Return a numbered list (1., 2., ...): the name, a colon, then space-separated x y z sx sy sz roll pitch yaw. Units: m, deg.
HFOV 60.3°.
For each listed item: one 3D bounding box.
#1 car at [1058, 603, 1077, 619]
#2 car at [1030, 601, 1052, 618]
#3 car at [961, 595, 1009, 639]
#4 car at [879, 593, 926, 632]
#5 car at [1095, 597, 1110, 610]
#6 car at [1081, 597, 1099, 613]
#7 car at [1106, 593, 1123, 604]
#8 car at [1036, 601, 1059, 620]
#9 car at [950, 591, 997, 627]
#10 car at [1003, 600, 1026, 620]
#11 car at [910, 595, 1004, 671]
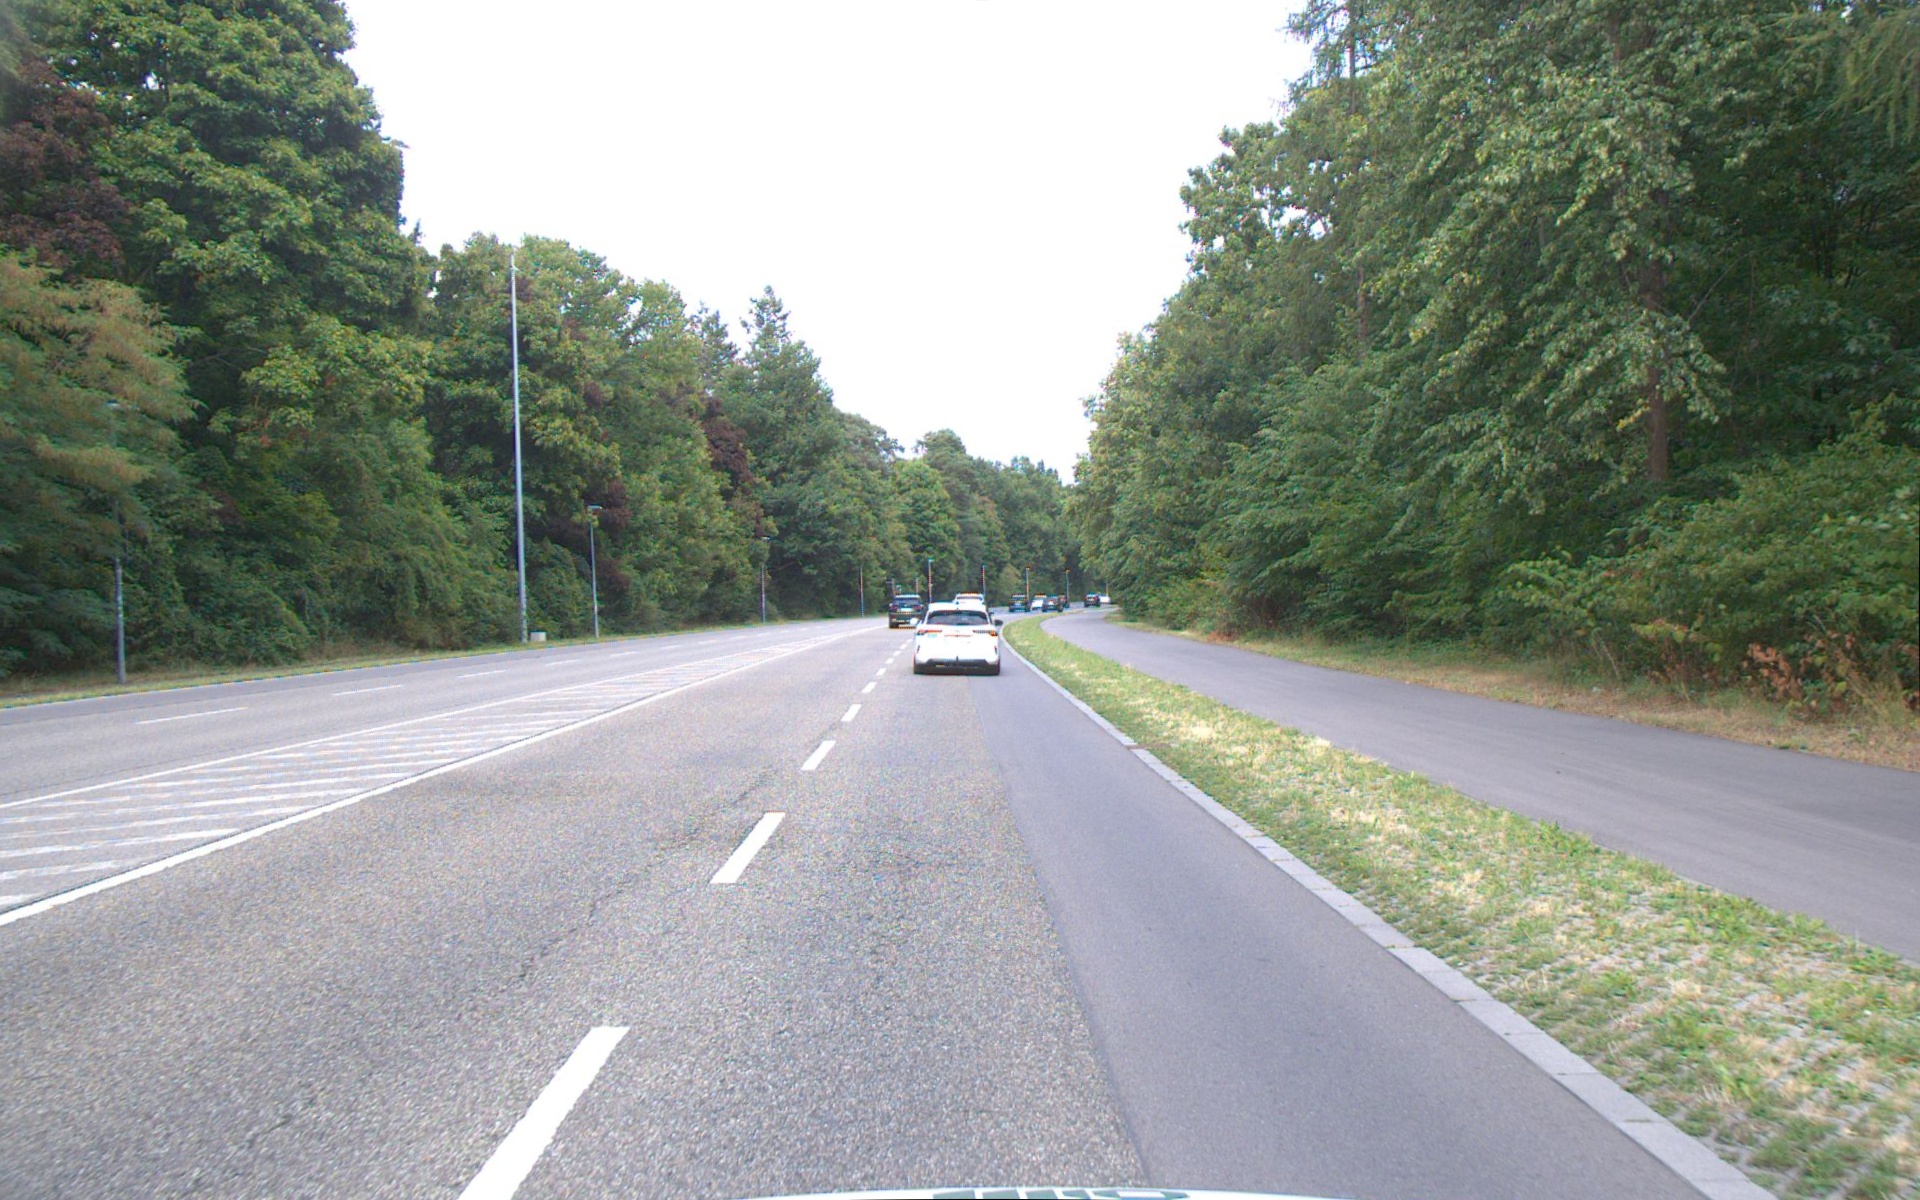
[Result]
1. car: 13.046 1.304 199.823 1.951 1.814 4.003 1 -1 8
2. car: 8.899 1.056 180.874 1.951 1.814 4.003 1 -1 9
3. car: 0.906 0.615 58.362 1.601 1.445 4.000 2 -1 1
4. car: -2.859 0.642 82.742 1.952 1.818 4.001 2 -1 3
5. car: 21.253 0.536 246.751 1.848 1.848 4.003 1 -1 11
6. car: 16.218 0.619 206.586 1.951 1.814 4.003 1 -1 8
7. car: 21.752 -0.198 232.380 1.951 1.434 4.003 1 -1 12
8. car: 8.556 1.045 161.466 1.951 1.814 4.003 1 -1 8
9. car: 0.695 0.470 81.677 1.951 1.635 4.002 2 -1 5
10. car: 5.333 1.005 162.071 1.951 1.814 4.002 1 -1 6
11. car: -0.104 0.678 34.419 1.799 1.435 4.489 2 -1 -1
